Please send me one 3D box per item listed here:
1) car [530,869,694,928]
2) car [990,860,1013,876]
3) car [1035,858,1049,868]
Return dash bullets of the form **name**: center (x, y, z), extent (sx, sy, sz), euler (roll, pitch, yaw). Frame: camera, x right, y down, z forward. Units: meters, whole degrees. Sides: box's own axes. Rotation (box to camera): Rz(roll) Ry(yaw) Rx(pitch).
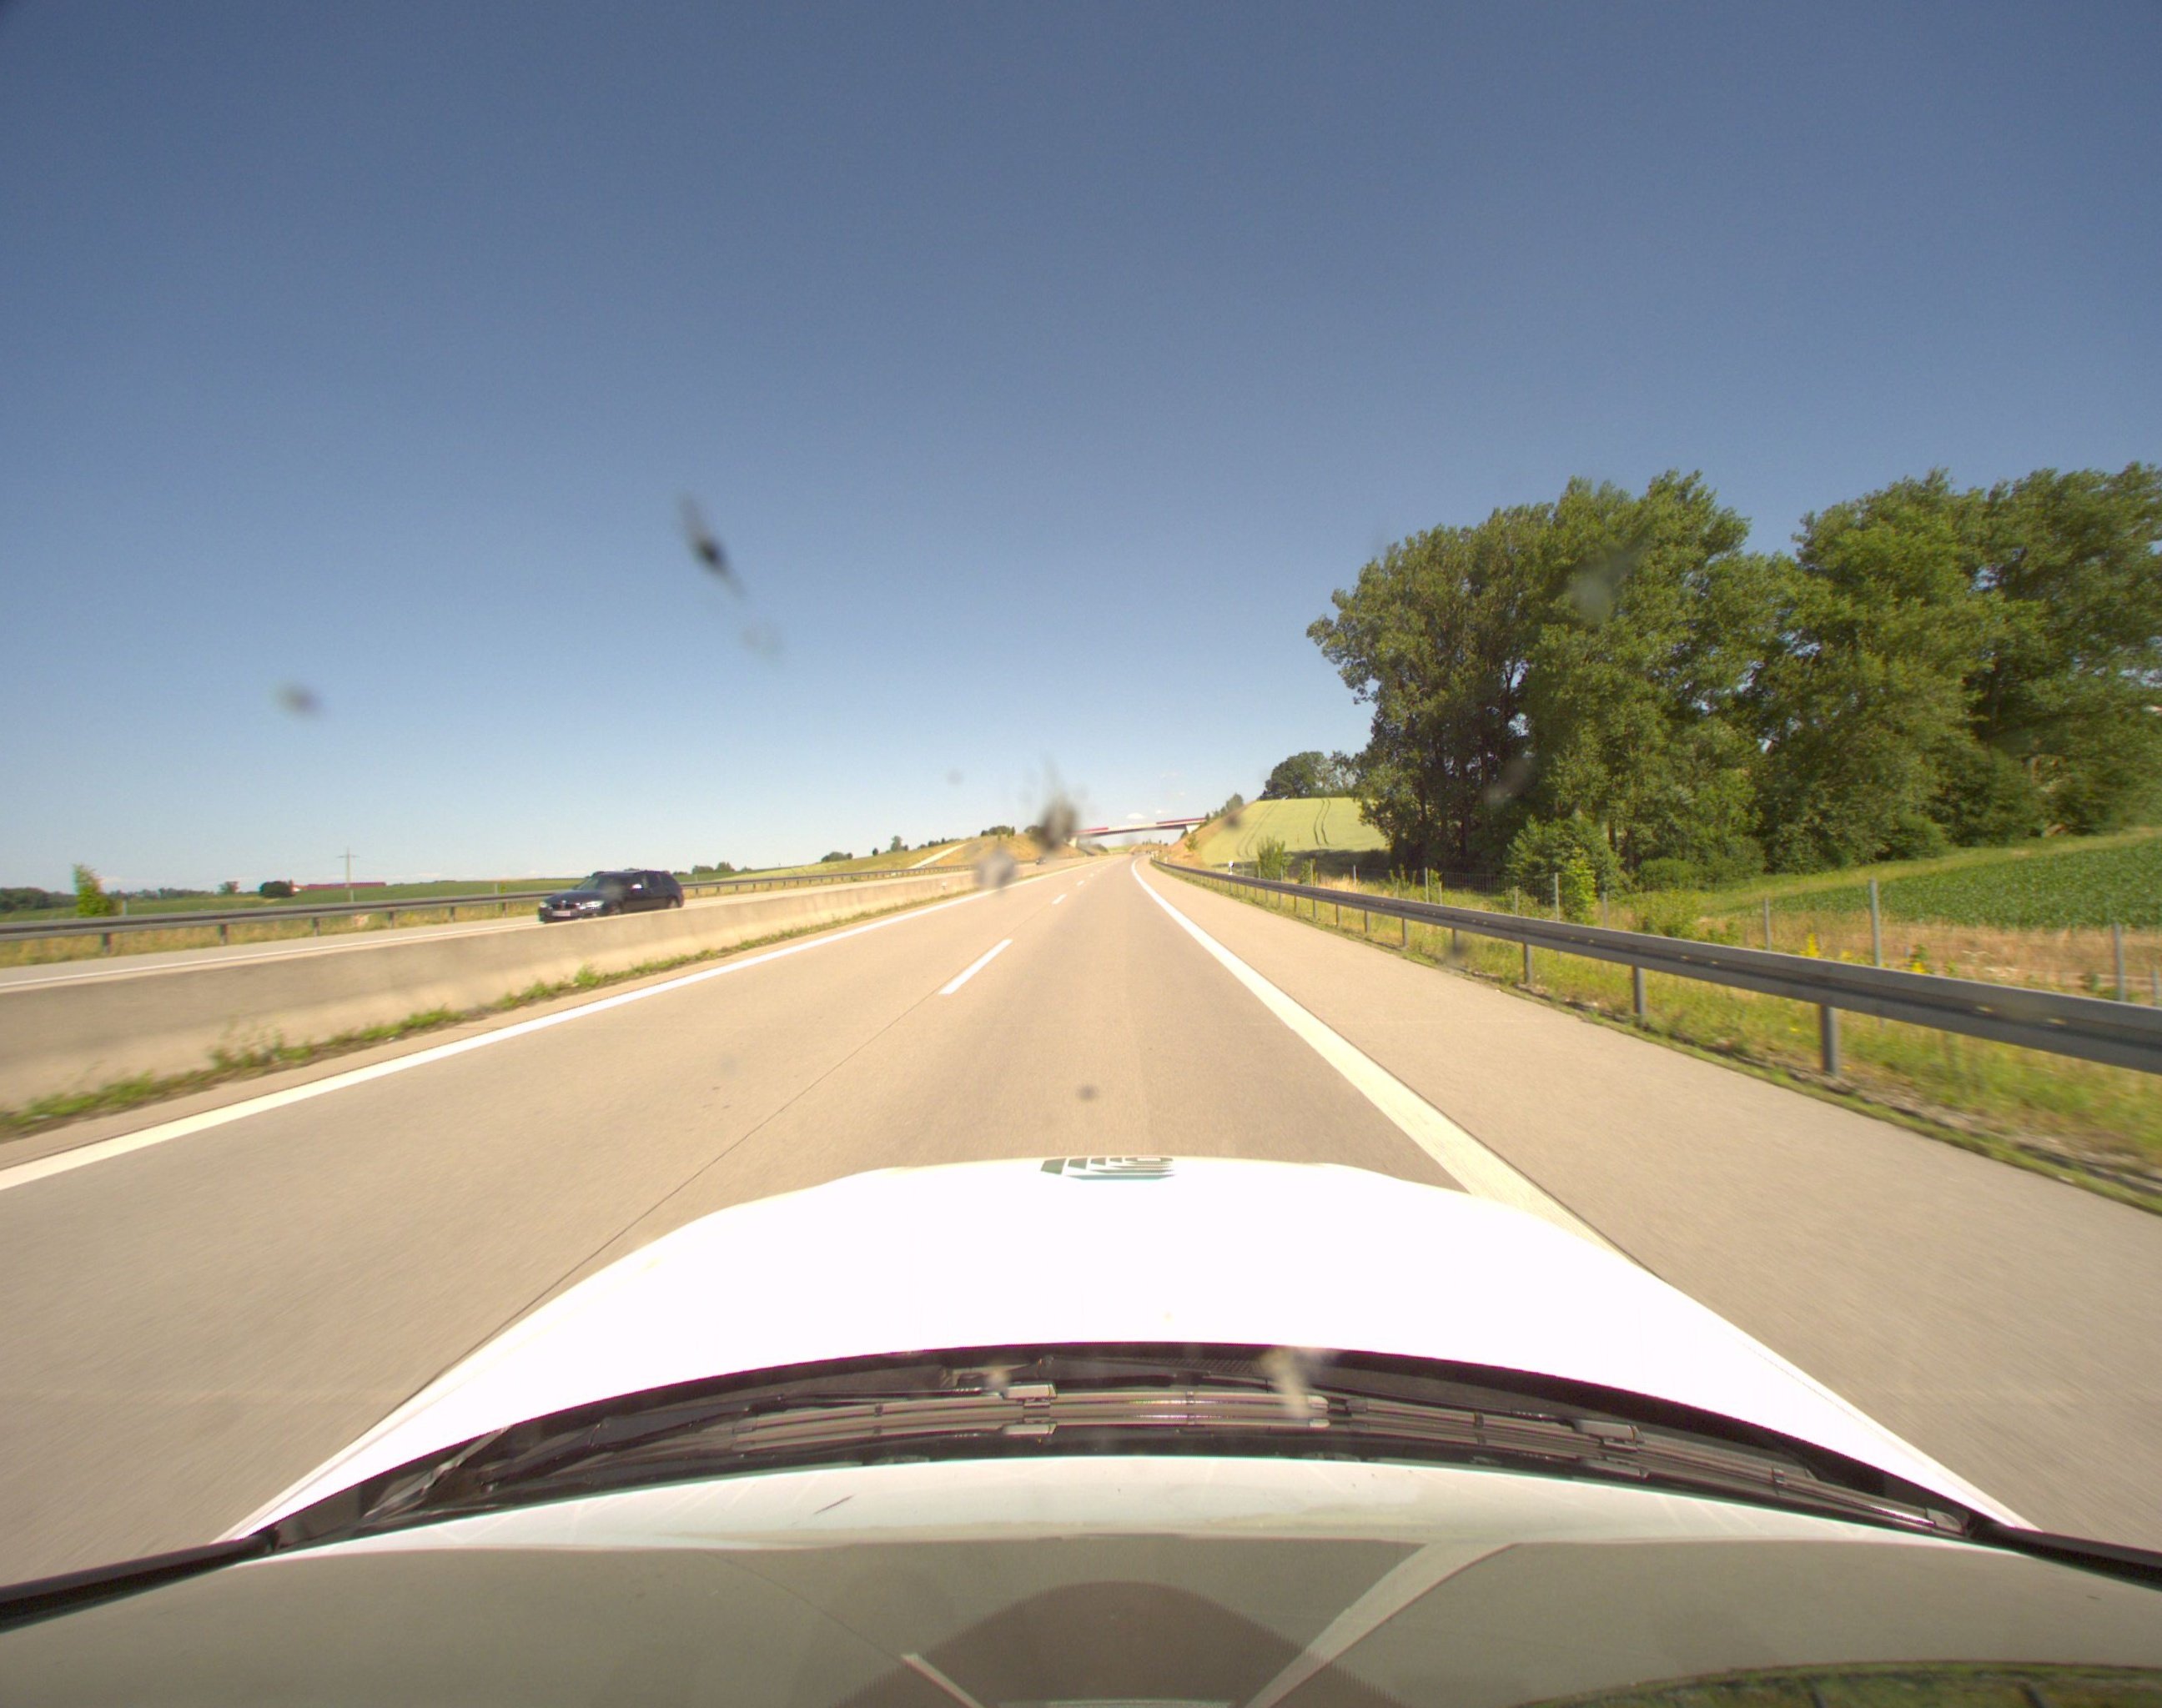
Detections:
- **car**: center (-12.785, 1.157, 22.594), extent (1.806, 1.456, 4.514), euler (0, -1, 2)
- **car**: center (-8.598, 1.519, 88.357), extent (1.805, 1.615, 4.681), euler (0, -1, 4)
- **car**: center (-6.865, 1.582, 143.915), extent (1.805, 1.615, 4.681), euler (0, -1, 4)
